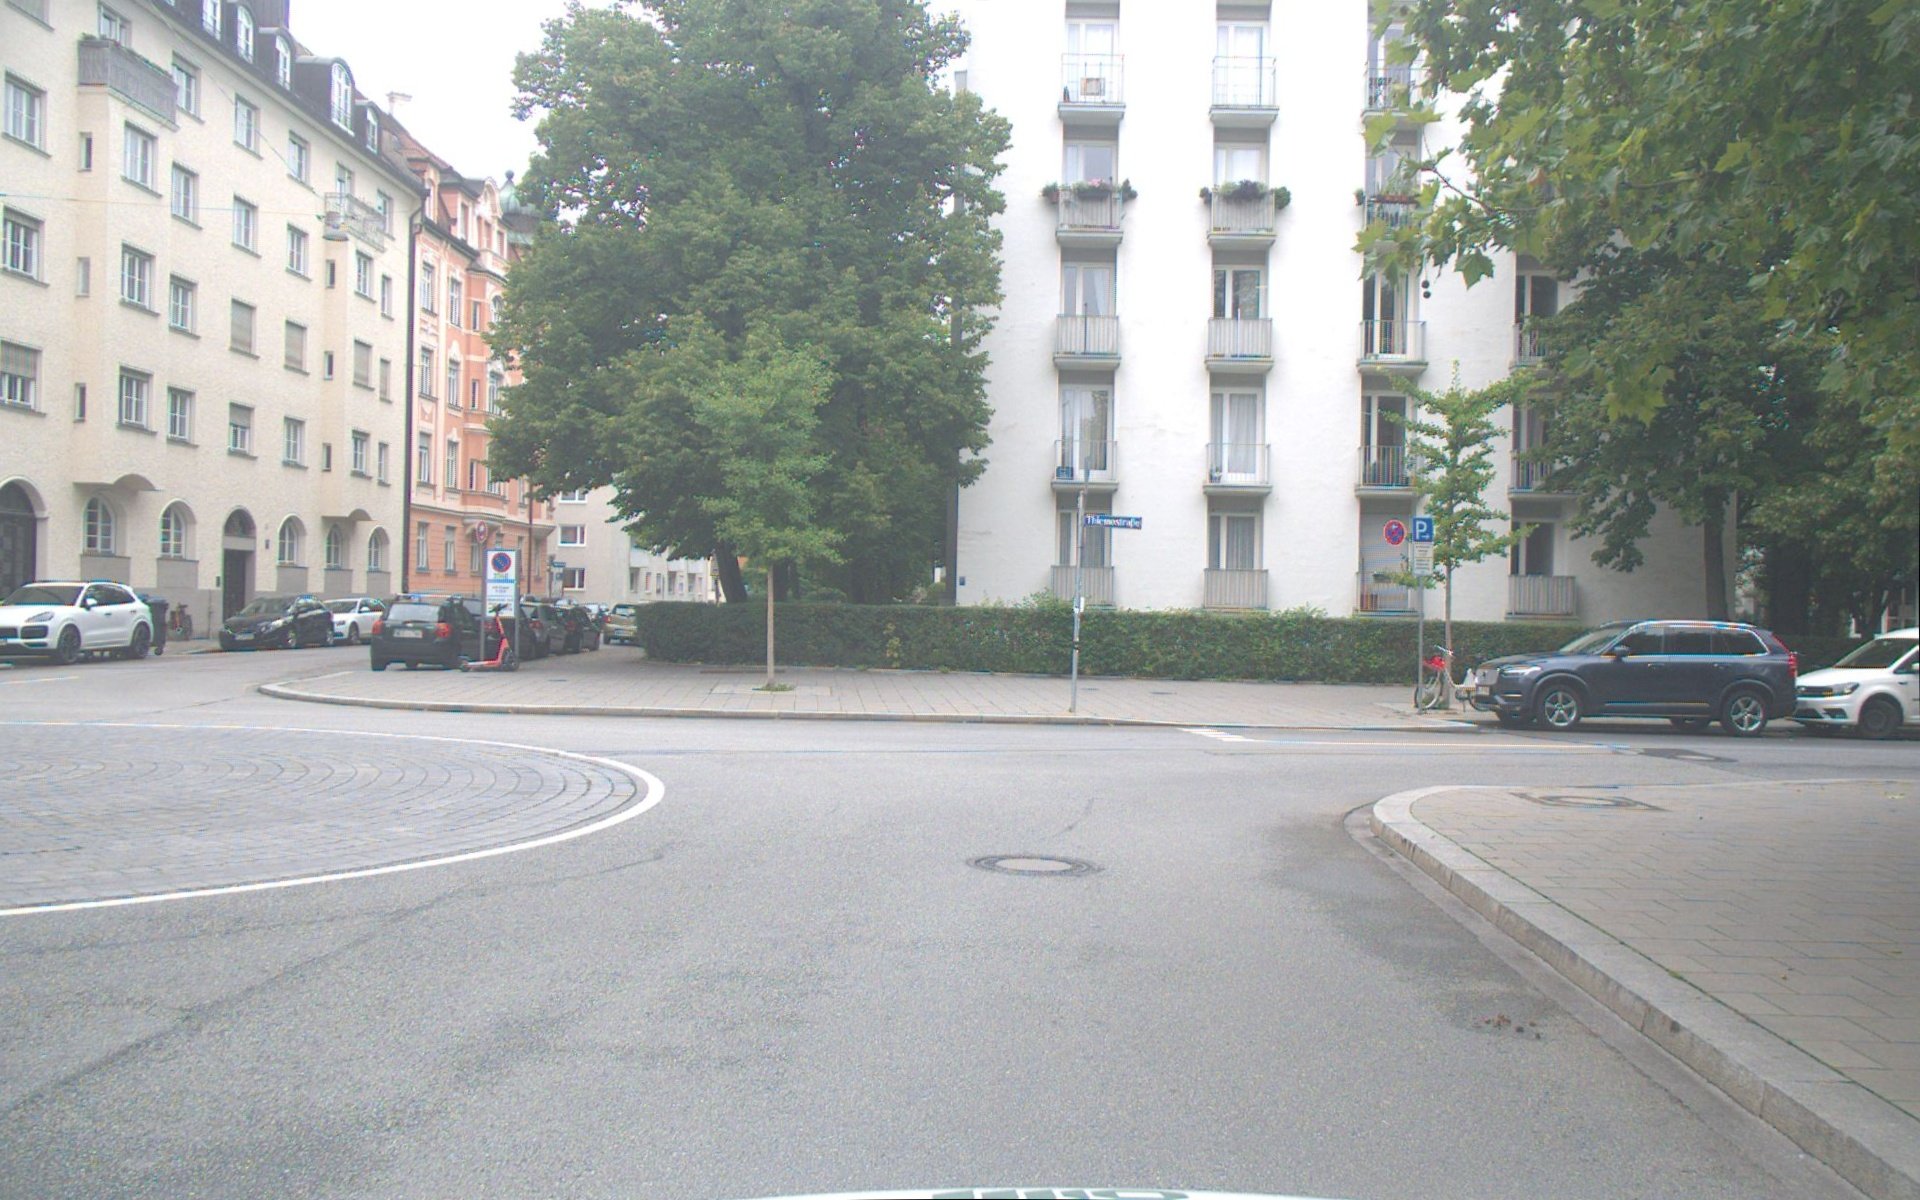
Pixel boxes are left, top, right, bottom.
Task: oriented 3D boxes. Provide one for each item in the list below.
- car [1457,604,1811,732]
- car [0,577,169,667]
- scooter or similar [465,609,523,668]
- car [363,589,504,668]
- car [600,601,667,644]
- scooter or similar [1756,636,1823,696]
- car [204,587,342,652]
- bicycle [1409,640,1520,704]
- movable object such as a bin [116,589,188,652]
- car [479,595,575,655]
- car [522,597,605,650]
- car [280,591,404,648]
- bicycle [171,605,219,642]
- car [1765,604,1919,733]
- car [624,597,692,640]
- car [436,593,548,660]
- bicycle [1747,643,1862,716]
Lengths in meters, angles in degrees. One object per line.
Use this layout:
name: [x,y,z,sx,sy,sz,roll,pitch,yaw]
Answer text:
car: [10.571,1.062,26.148,4.800,1.823,1.998,1,-1,-4]
car: [-18.829,0.416,34.820,1.935,1.730,4.840,2,0,0]
scooter or similar: [-8.928,0.738,31.699,0.987,1.107,0.387,2,-1,-27]
car: [-10.883,0.563,34.505,1.783,1.531,4.419,0,0,-4]
car: [-12.058,0.818,61.226,1.798,1.531,4.113,0,0,-2]
scooter or similar: [17.394,1.384,34.681,1.187,1.214,0.400,2,-1,-1]
car: [-18.753,0.504,45.386,1.936,1.644,4.710,2,0,-2]
bicycle: [8.724,1.249,28.598,1.791,1.067,0.490,1,0,-10]
movable object such as a bin: [-19.226,0.490,39.363,1.068,1.450,1.174,1,0,3]
car: [-11.547,0.644,44.333,1.758,1.531,4.112,0,0,-4]
car: [-11.961,0.697,50.110,1.758,1.531,4.112,0,0,-4]
car: [-18.709,0.578,50.271,1.934,1.608,4.409,2,0,2]
bicycle: [-22.863,0.693,49.433,0.551,1.067,1.830,1,0,0]
car: [15.744,1.123,26.631,4.738,1.952,1.834,1,-1,-5]
car: [-11.978,0.707,65.840,1.797,1.663,4.116,0,0,2]
car: [-11.171,0.605,39.758,1.758,1.531,4.231,0,0,-4]
bicycle: [14.652,1.363,28.740,0.529,1.169,1.815,1,0,-26]
